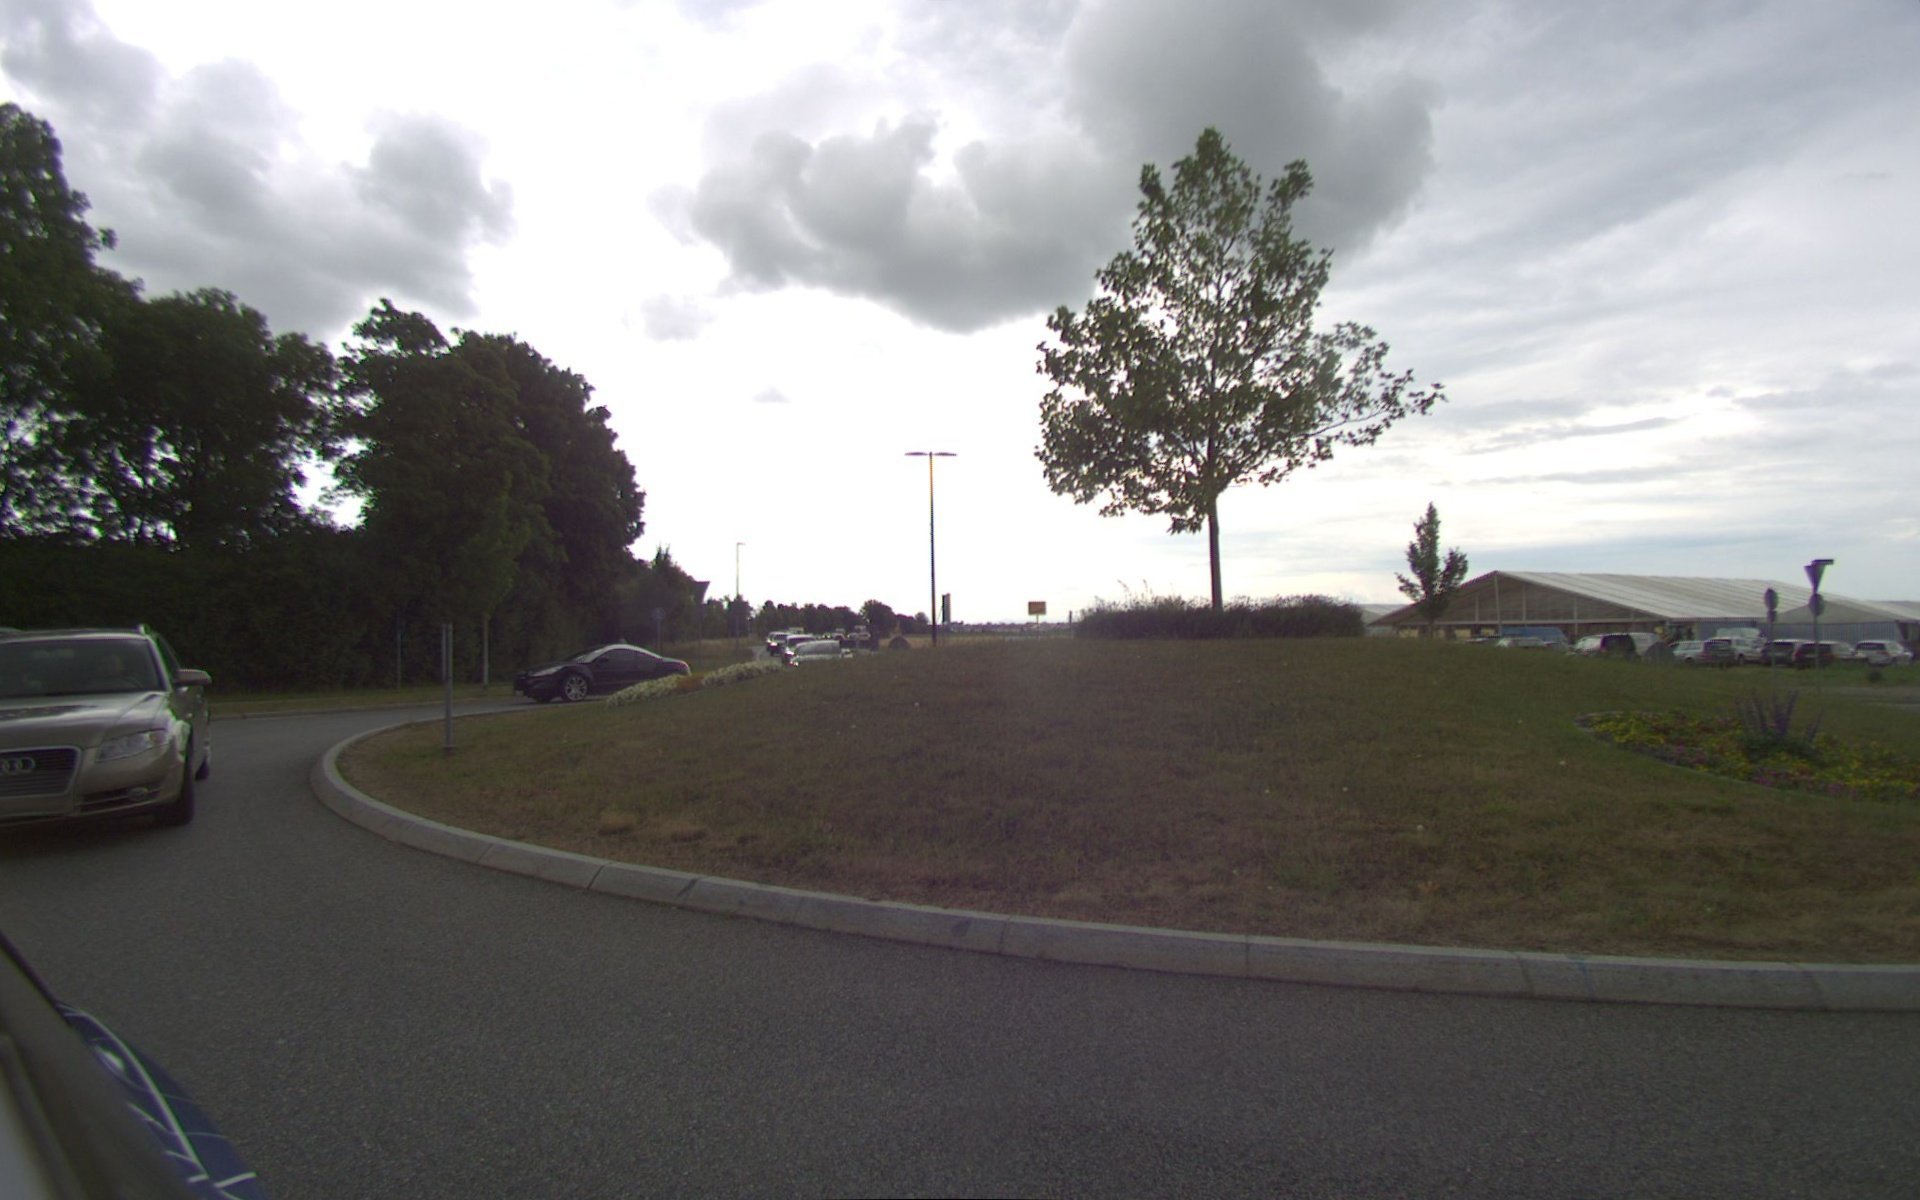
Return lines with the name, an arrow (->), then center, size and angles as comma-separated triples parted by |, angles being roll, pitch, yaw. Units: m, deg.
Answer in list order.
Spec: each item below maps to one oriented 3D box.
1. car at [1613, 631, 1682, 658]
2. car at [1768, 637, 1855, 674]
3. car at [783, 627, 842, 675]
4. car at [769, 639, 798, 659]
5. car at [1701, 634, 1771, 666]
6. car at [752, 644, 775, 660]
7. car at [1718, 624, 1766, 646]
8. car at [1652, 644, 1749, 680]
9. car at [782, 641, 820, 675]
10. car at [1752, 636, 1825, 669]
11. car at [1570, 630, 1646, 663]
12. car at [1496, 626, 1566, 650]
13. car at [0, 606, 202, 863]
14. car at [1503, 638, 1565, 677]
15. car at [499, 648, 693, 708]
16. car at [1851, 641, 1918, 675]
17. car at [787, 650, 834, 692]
car -> 39.870, 2.540, 58.673 | 3.933, 1.453, 1.957 | 0, -1, -34
car -> 39.568, 2.567, 47.137 | 1.621, 1.619, 3.856 | -1, -2, 16
car -> -4.863, 1.642, 33.850 | 1.812, 1.469, 4.142 | -1, -1, -6
car -> -12.469, 3.417, 71.419 | 1.752, 1.328, 3.820 | -1, -2, -14
car -> 42.221, 2.708, 55.037 | 3.765, 1.619, 1.840 | 1, -3, -33
car -> -17.402, 4.572, 89.583 | 1.752, 1.328, 3.820 | -1, -2, -14
car -> 61.798, 2.773, 79.967 | 3.765, 1.619, 1.840 | 0, -3, -33
car -> 35.473, 2.930, 48.622 | 1.710, 1.619, 3.876 | -1, -2, 0
car -> -7.709, 2.767, 49.236 | 1.753, 1.510, 3.817 | -1, -2, -8
car -> 43.069, 2.702, 52.609 | 3.765, 1.619, 1.840 | 1, -3, -33
car -> 29.946, 2.144, 46.895 | 1.936, 1.453, 3.976 | -1, -2, 18
car -> 36.763, 2.430, 65.152 | 3.930, 1.453, 1.958 | 0, -3, -26
car -> -7.000, 0.876, 7.749 | 1.754, 1.476, 4.551 | -2, -1, -35
car -> 26.840, 2.674, 47.452 | 1.702, 1.565, 3.976 | -4, -1, 18
car -> -8.776, 1.844, 24.592 | 4.052, 1.317, 1.832 | 2, -5, -43
car -> 45.557, 2.837, 49.847 | 3.935, 1.565, 1.735 | 1, -3, -38
car -> -6.031, 2.819, 40.802 | 1.753, 1.510, 3.817 | -1, -2, -8
